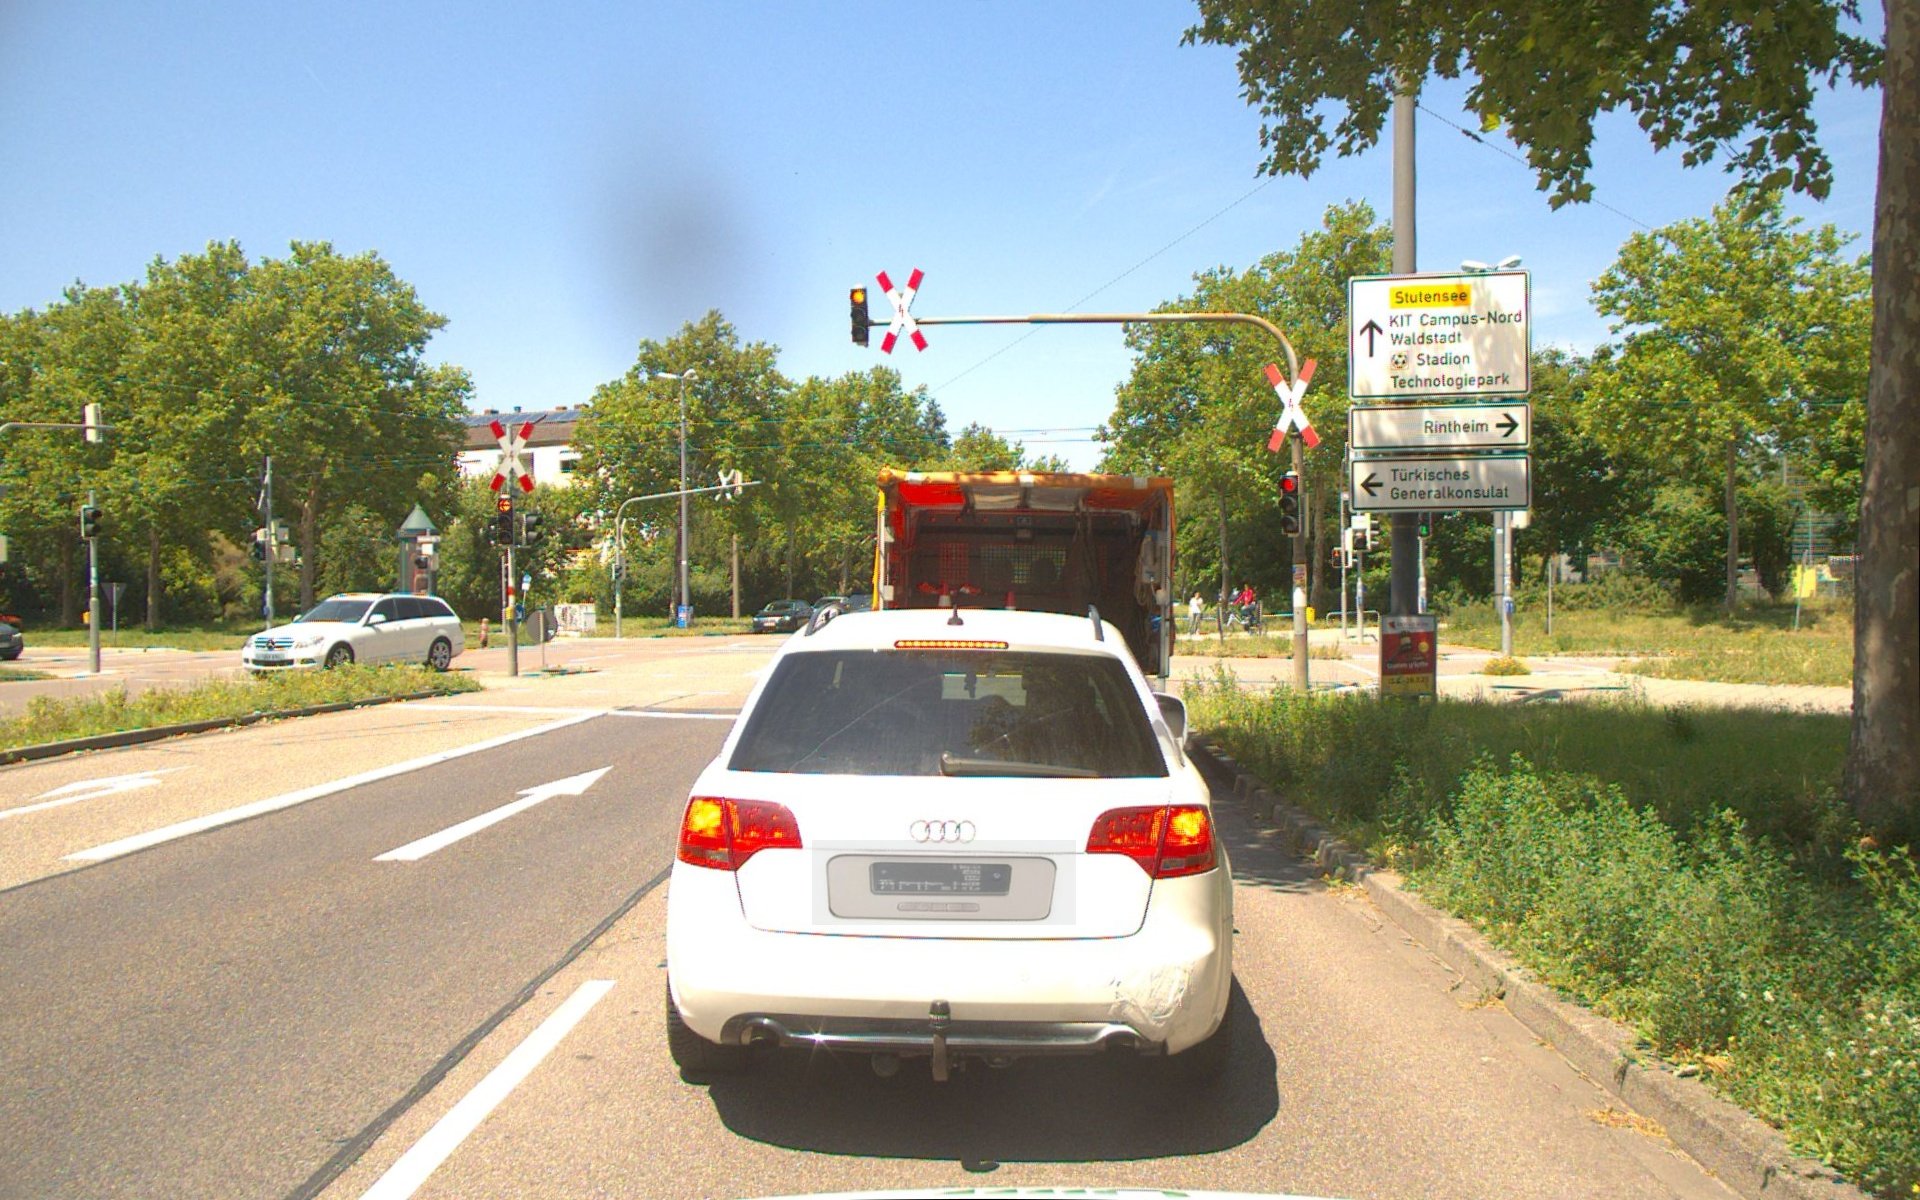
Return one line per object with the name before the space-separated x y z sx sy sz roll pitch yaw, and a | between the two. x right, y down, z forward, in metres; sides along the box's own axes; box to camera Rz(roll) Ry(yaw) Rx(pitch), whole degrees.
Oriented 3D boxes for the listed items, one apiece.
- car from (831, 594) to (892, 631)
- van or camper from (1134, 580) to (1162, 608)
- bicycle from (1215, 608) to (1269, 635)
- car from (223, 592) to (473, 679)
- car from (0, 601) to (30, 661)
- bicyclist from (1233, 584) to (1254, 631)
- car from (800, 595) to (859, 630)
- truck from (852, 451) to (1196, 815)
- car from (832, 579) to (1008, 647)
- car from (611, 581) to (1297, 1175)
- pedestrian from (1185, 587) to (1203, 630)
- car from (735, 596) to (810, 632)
car | -4.382 0.520 74.044 1.868 1.566 4.302 -1 0 8
van or camper | 22.768 -0.711 200.041 2.604 3.389 5.505 0 0 14
bicycle | 9.538 0.720 55.950 1.767 0.911 0.589 0 0 7
car | -10.932 0.588 29.929 1.814 1.443 4.550 -1 0 18
car | -25.478 0.791 41.817 3.907 1.483 1.760 0 0 32
bicyclist | 9.599 0.245 55.940 0.657 1.583 0.580 -1 0 6
car | -6.344 0.574 80.802 1.749 1.643 4.408 -1 0 11
truck | 0.618 0.235 15.841 2.459 2.604 7.605 1 0 2
car | -1.083 0.322 44.047 4.357 1.708 1.909 -1 0 -16
car | 0.083 0.685 5.984 1.725 1.470 3.617 0 0 3
pedestrian | 8.279 0.312 58.545 0.541 1.510 0.630 -1 0 16
car | -8.242 0.592 73.267 1.907 1.465 4.751 0 1 12
